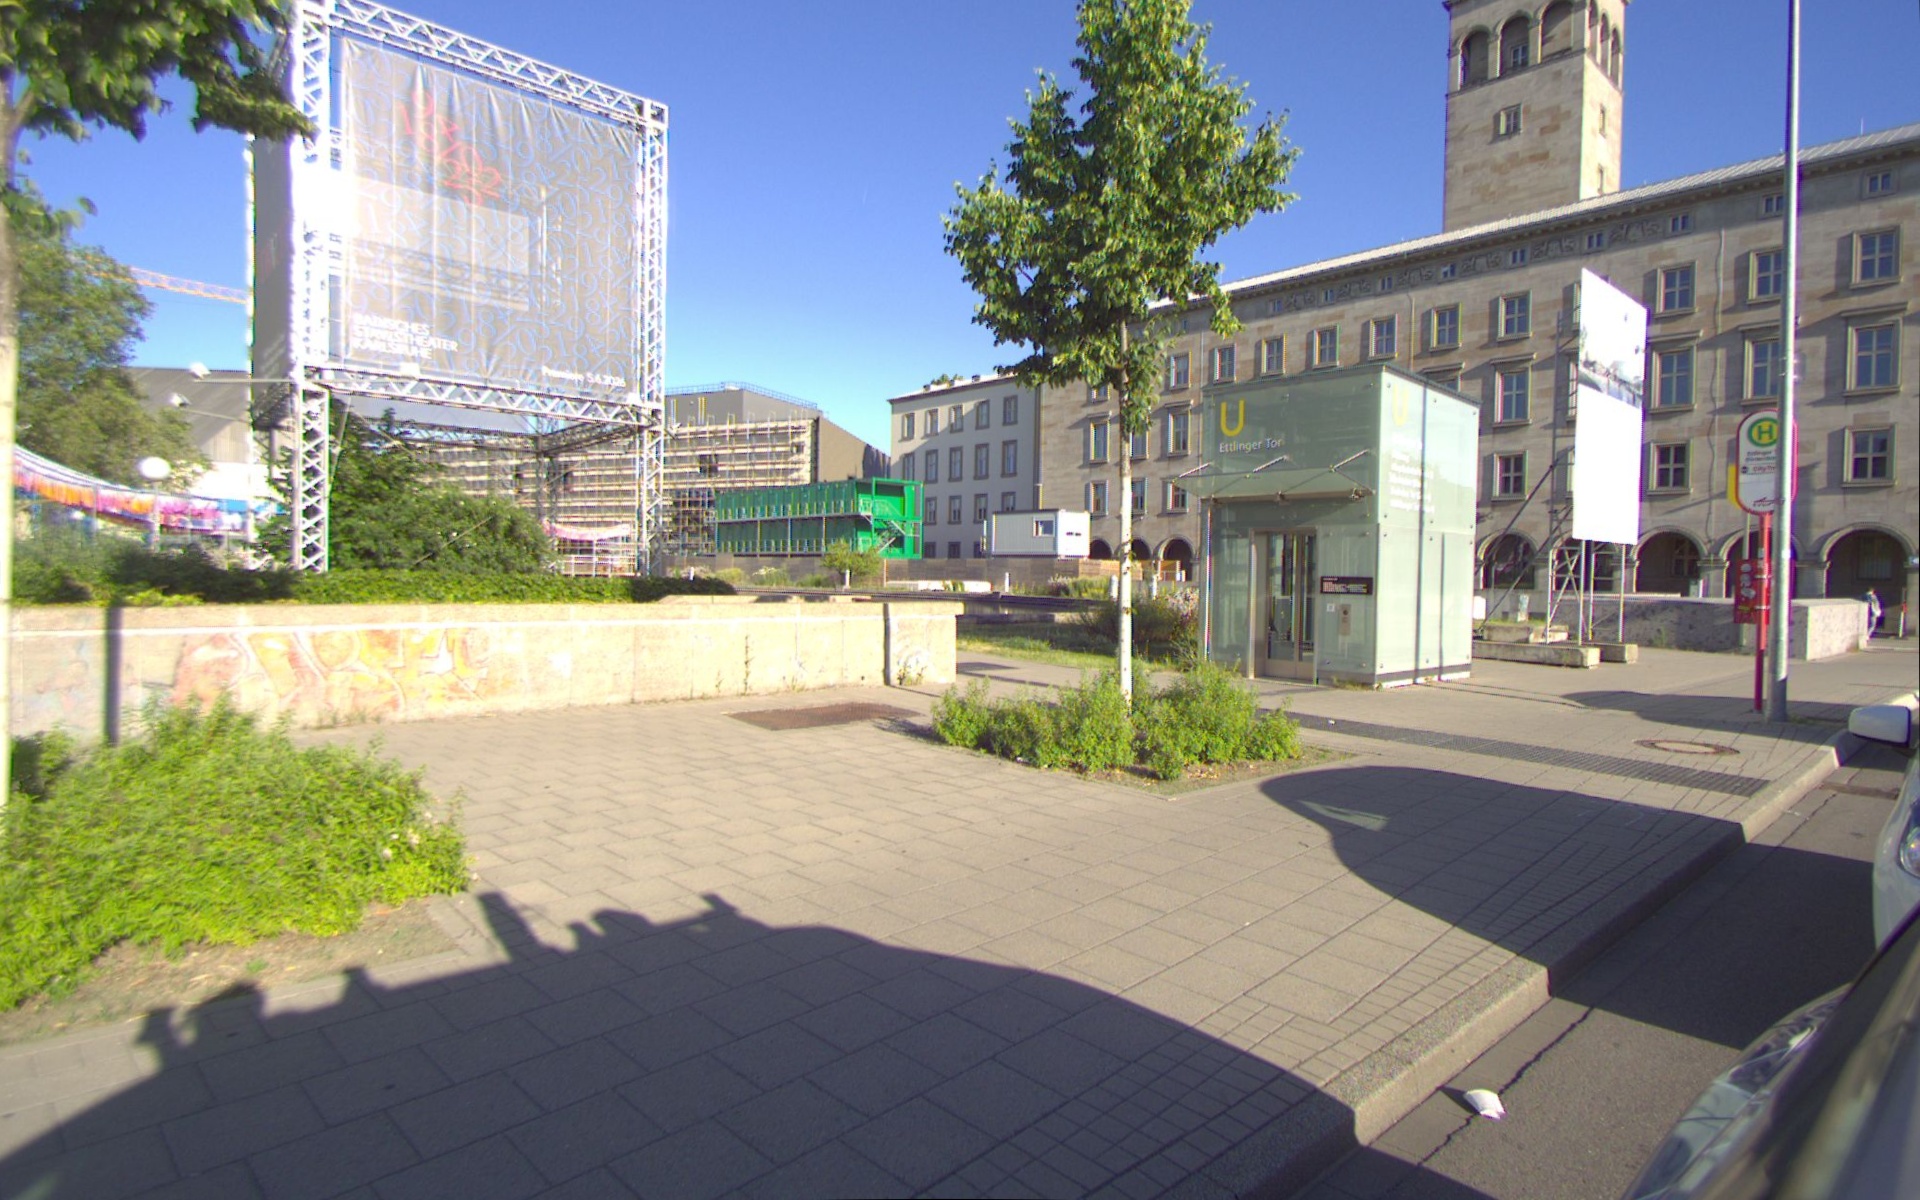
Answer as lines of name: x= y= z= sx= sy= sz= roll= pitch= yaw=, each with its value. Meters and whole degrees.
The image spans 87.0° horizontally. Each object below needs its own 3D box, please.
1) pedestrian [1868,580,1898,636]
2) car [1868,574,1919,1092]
pedestrian: x=29.143 y=0.240 z=31.952 sx=0.572 sy=1.732 sz=0.595 roll=0 pitch=1 yaw=-41
car: x=4.646 y=0.679 z=3.667 sx=3.930 sy=1.473 sz=1.518 roll=0 pitch=2 yaw=-41
